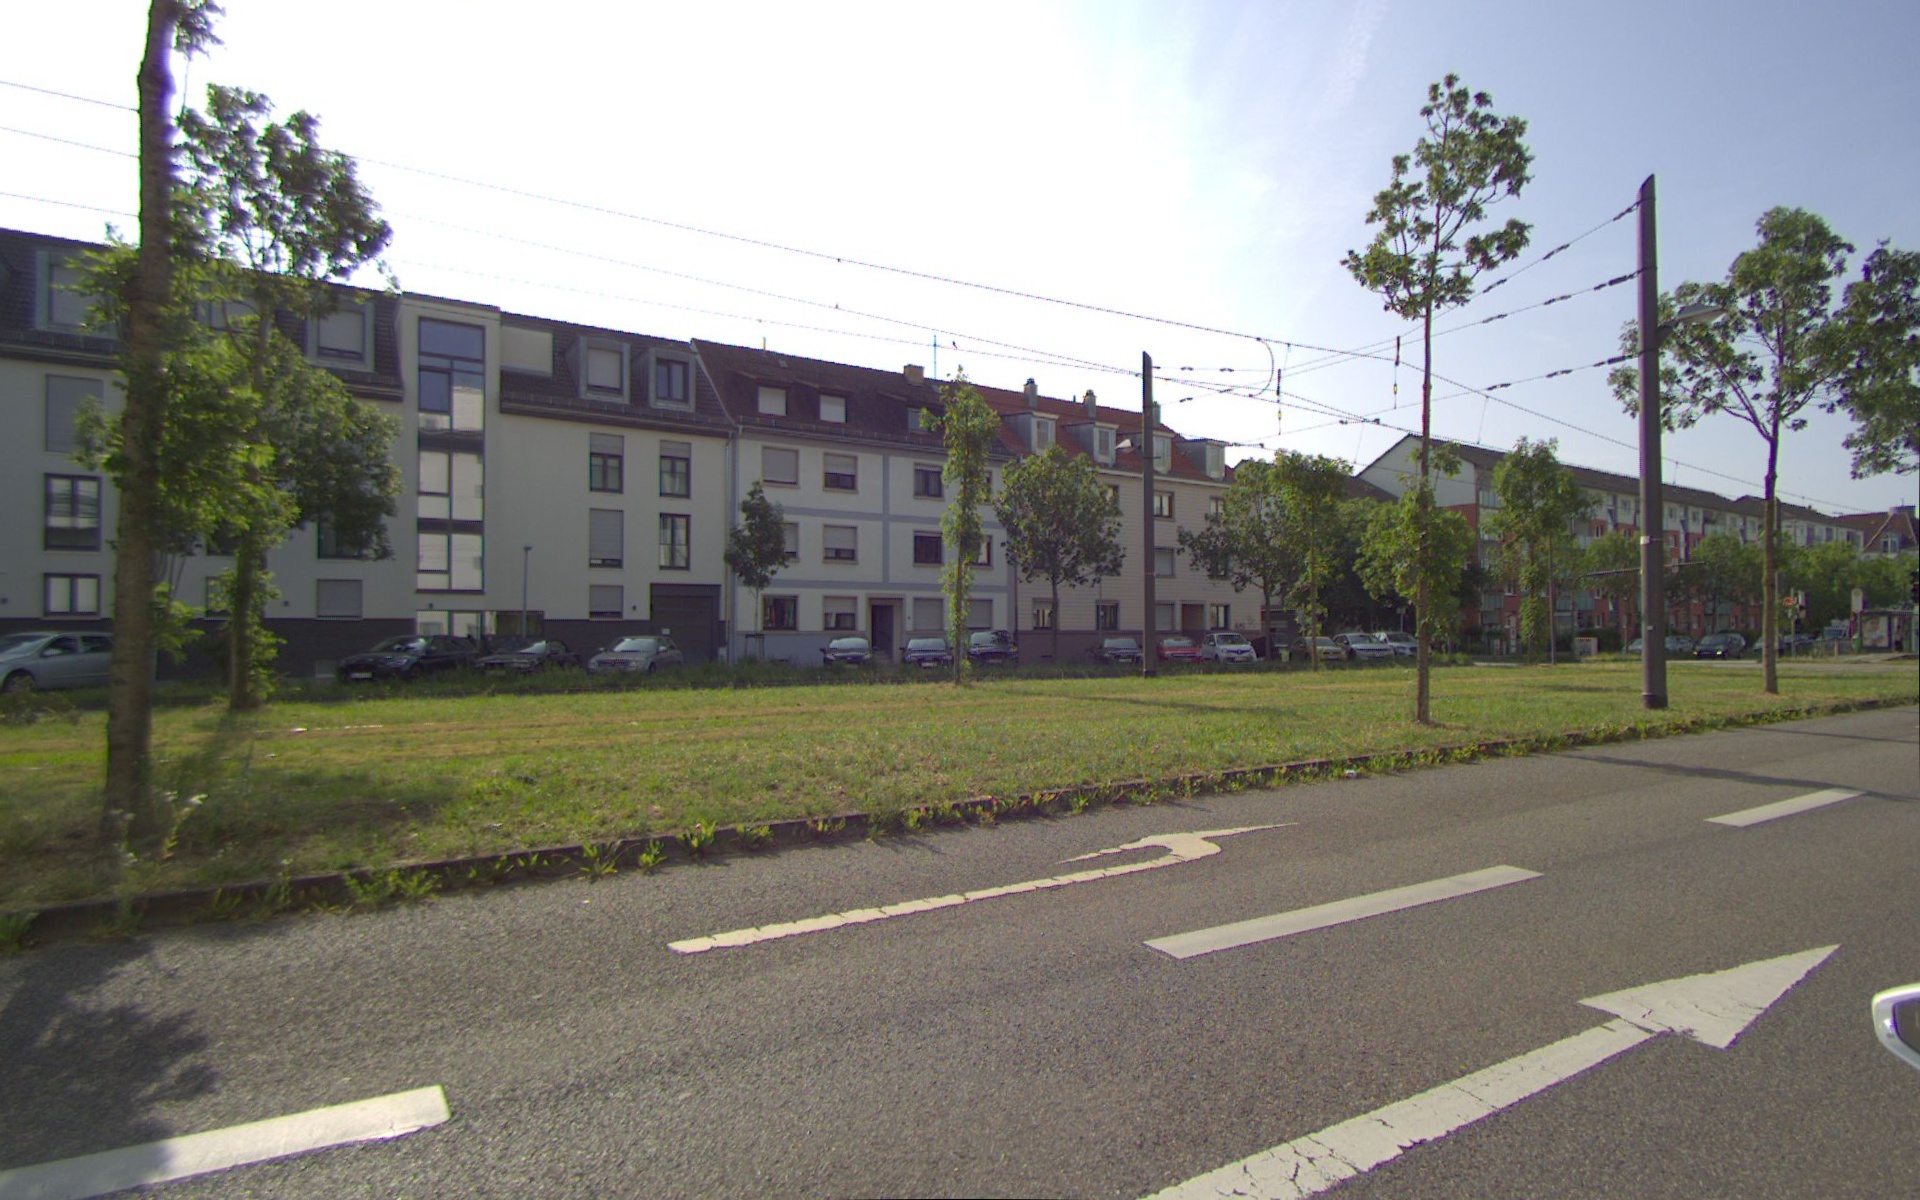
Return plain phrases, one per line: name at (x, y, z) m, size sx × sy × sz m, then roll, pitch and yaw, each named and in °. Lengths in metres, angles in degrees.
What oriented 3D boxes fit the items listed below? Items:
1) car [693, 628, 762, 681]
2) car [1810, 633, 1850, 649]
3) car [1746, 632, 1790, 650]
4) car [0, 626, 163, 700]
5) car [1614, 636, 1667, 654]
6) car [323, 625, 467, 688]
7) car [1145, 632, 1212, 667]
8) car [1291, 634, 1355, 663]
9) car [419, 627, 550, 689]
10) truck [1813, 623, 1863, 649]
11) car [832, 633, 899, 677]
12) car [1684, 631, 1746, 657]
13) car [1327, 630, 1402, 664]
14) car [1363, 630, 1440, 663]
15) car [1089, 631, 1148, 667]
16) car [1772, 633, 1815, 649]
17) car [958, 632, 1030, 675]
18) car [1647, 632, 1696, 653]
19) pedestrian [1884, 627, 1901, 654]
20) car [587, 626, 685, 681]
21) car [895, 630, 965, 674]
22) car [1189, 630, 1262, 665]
car at (-6.850, 1.572, 29.869) m, size 1.634 × 1.394 × 3.776 m, roll 1°, pitch 0°, yaw -8°
car at (81.804, 3.863, 94.411) m, size 4.029 × 1.378 × 1.967 m, roll 2°, pitch -1°, yaw -35°
car at (69.270, 3.504, 86.109) m, size 4.029 × 1.378 × 1.967 m, roll 2°, pitch -1°, yaw -35°
car at (-19.782, 1.291, 21.668) m, size 1.700 × 1.338 × 4.399 m, roll 1°, pitch 0°, yaw -1°
car at (48.531, 3.190, 71.631) m, size 4.123 × 1.163 × 1.821 m, roll 2°, pitch -1°, yaw -35°
car at (-14.427, 1.398, 25.929) m, size 1.802 × 1.394 × 3.996 m, roll 1°, pitch 0°, yaw -7°
car at (9.009, 2.015, 41.717) m, size 1.839 × 1.275 × 3.999 m, roll 1°, pitch 0°, yaw -1°
car at (17.231, 2.292, 47.848) m, size 1.959 × 1.194 × 4.002 m, roll 1°, pitch 0°, yaw 7°
car at (-12.336, 1.455, 26.352) m, size 1.891 × 1.394 × 3.996 m, roll 1°, pitch 0°, yaw -7°
truck at (92.537, 3.780, 105.813) m, size 7.169 × 2.596 × 2.350 m, roll 2°, pitch -2°, yaw -35°
car at (-3.156, 1.753, 32.868) m, size 1.963 × 1.305 × 3.995 m, roll 1°, pitch -1°, yaw -8°
car at (51.561, 3.001, 68.609) m, size 4.663 × 1.728 × 1.982 m, roll 2°, pitch -2°, yaw -34°
car at (19.527, 2.230, 48.704) m, size 1.960 × 1.534 × 4.466 m, roll 0°, pitch -1°, yaw 2°
car at (22.333, 2.333, 50.985) m, size 1.925 × 1.483 × 4.353 m, roll 1°, pitch 0°, yaw -1°
car at (6.242, 1.908, 39.894) m, size 1.666 × 1.251 × 4.000 m, roll 1°, pitch 0°, yaw -1°
car at (73.979, 3.638, 89.160) m, size 4.029 × 1.378 × 1.967 m, roll 2°, pitch -1°, yaw -35°
car at (1.125, 1.845, 35.513) m, size 1.963 × 1.305 × 4.055 m, roll 1°, pitch 0°, yaw -7°
car at (53.206, 3.176, 75.067) m, size 3.789 × 1.490 × 1.821 m, roll 2°, pitch 0°, yaw -35°
pedestrian at (58.919, 2.547, 63.489) m, size 0.788 × 1.675 × 0.666 m, roll 2°, pitch -2°, yaw -39°
car at (-9.373, 1.510, 29.421) m, size 1.963 × 1.394 × 4.334 m, roll 1°, pitch 0°, yaw -8°
car at (-1.095, 1.755, 34.509) m, size 1.963 × 1.305 × 3.994 m, roll 1°, pitch 0°, yaw -8°
car at (11.471, 2.034, 43.659) m, size 1.850 × 1.286 × 3.998 m, roll 1°, pitch 0°, yaw -4°
